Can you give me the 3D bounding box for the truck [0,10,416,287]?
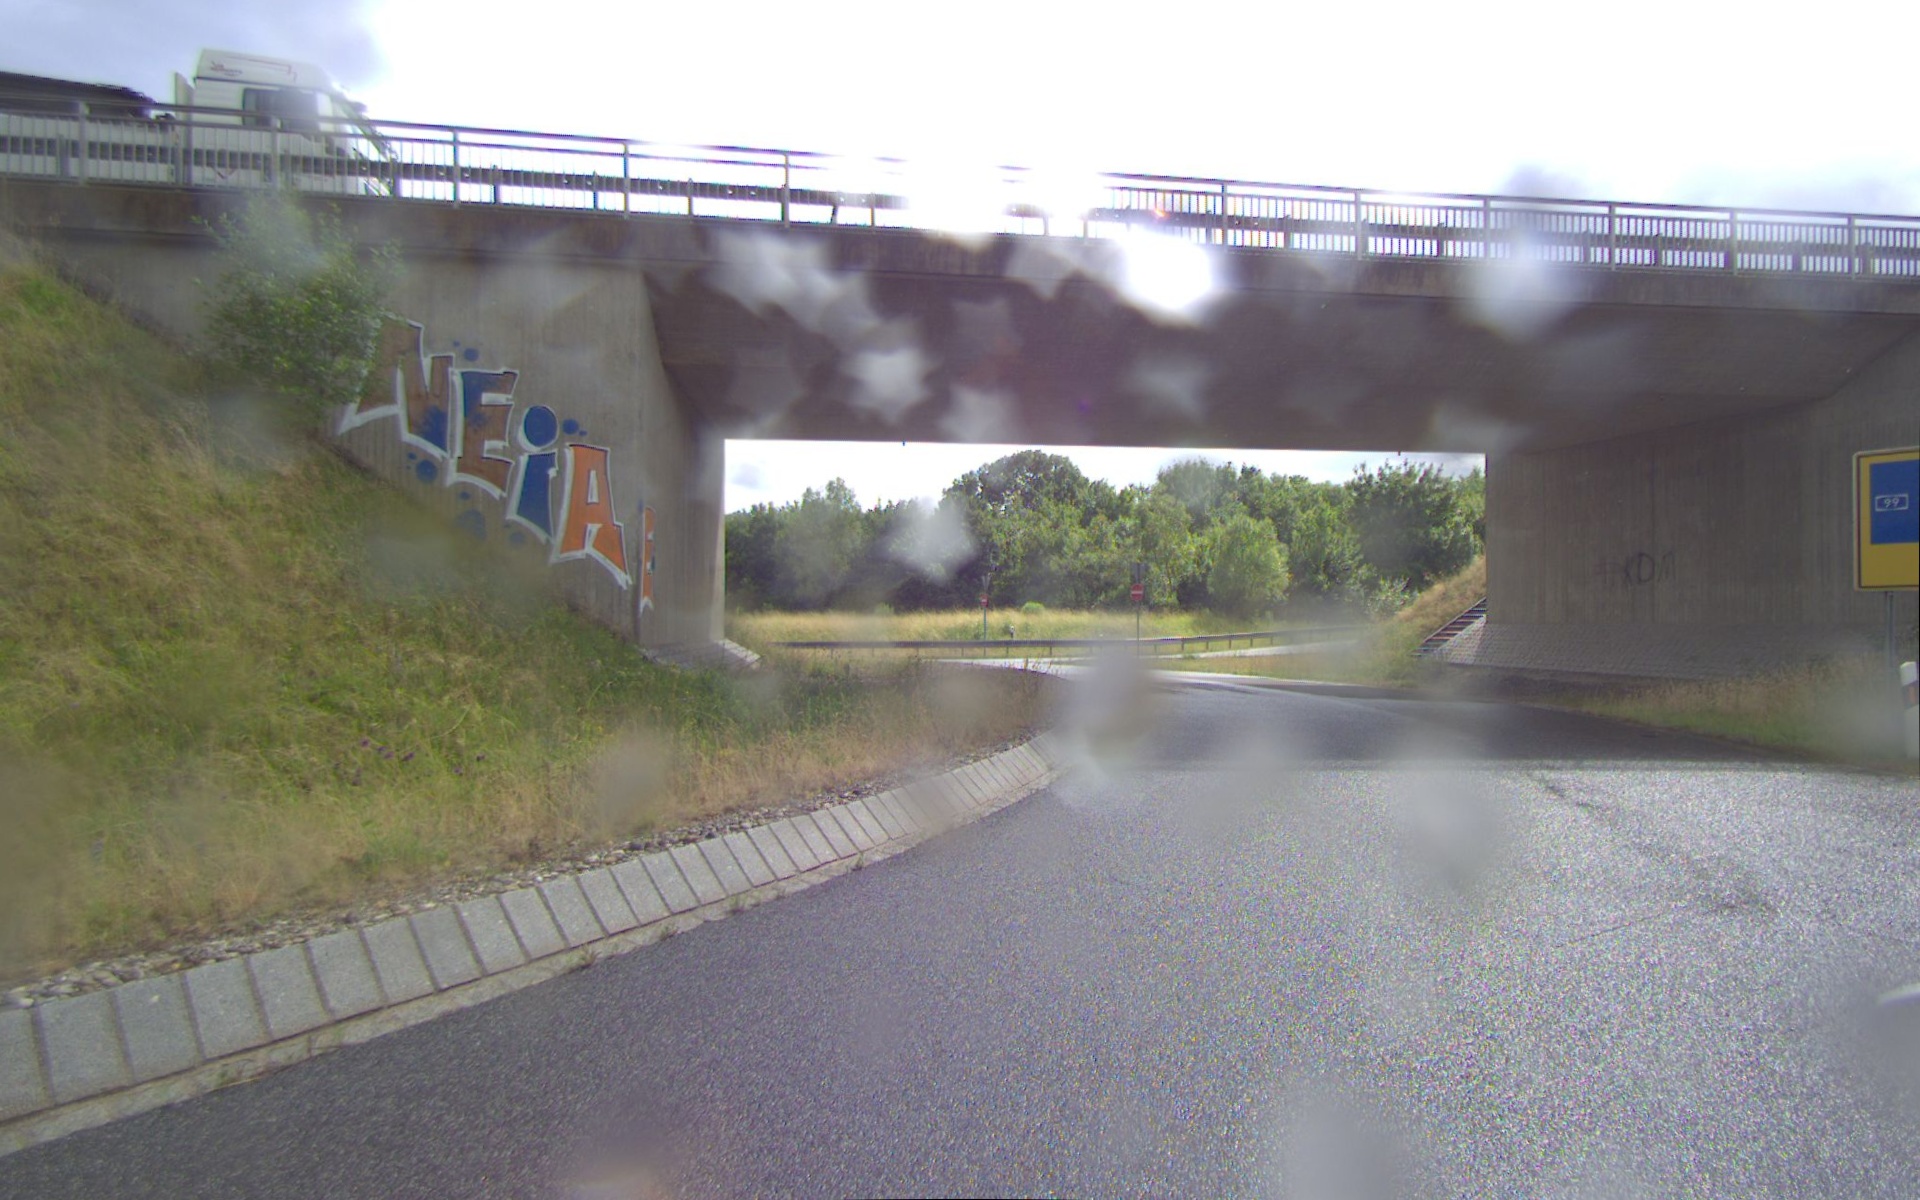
[{"bbox_3d":[-14.492,-6.990,15.334,10.636,2.912,2.202,1,0,-12],"label":"truck"}]
